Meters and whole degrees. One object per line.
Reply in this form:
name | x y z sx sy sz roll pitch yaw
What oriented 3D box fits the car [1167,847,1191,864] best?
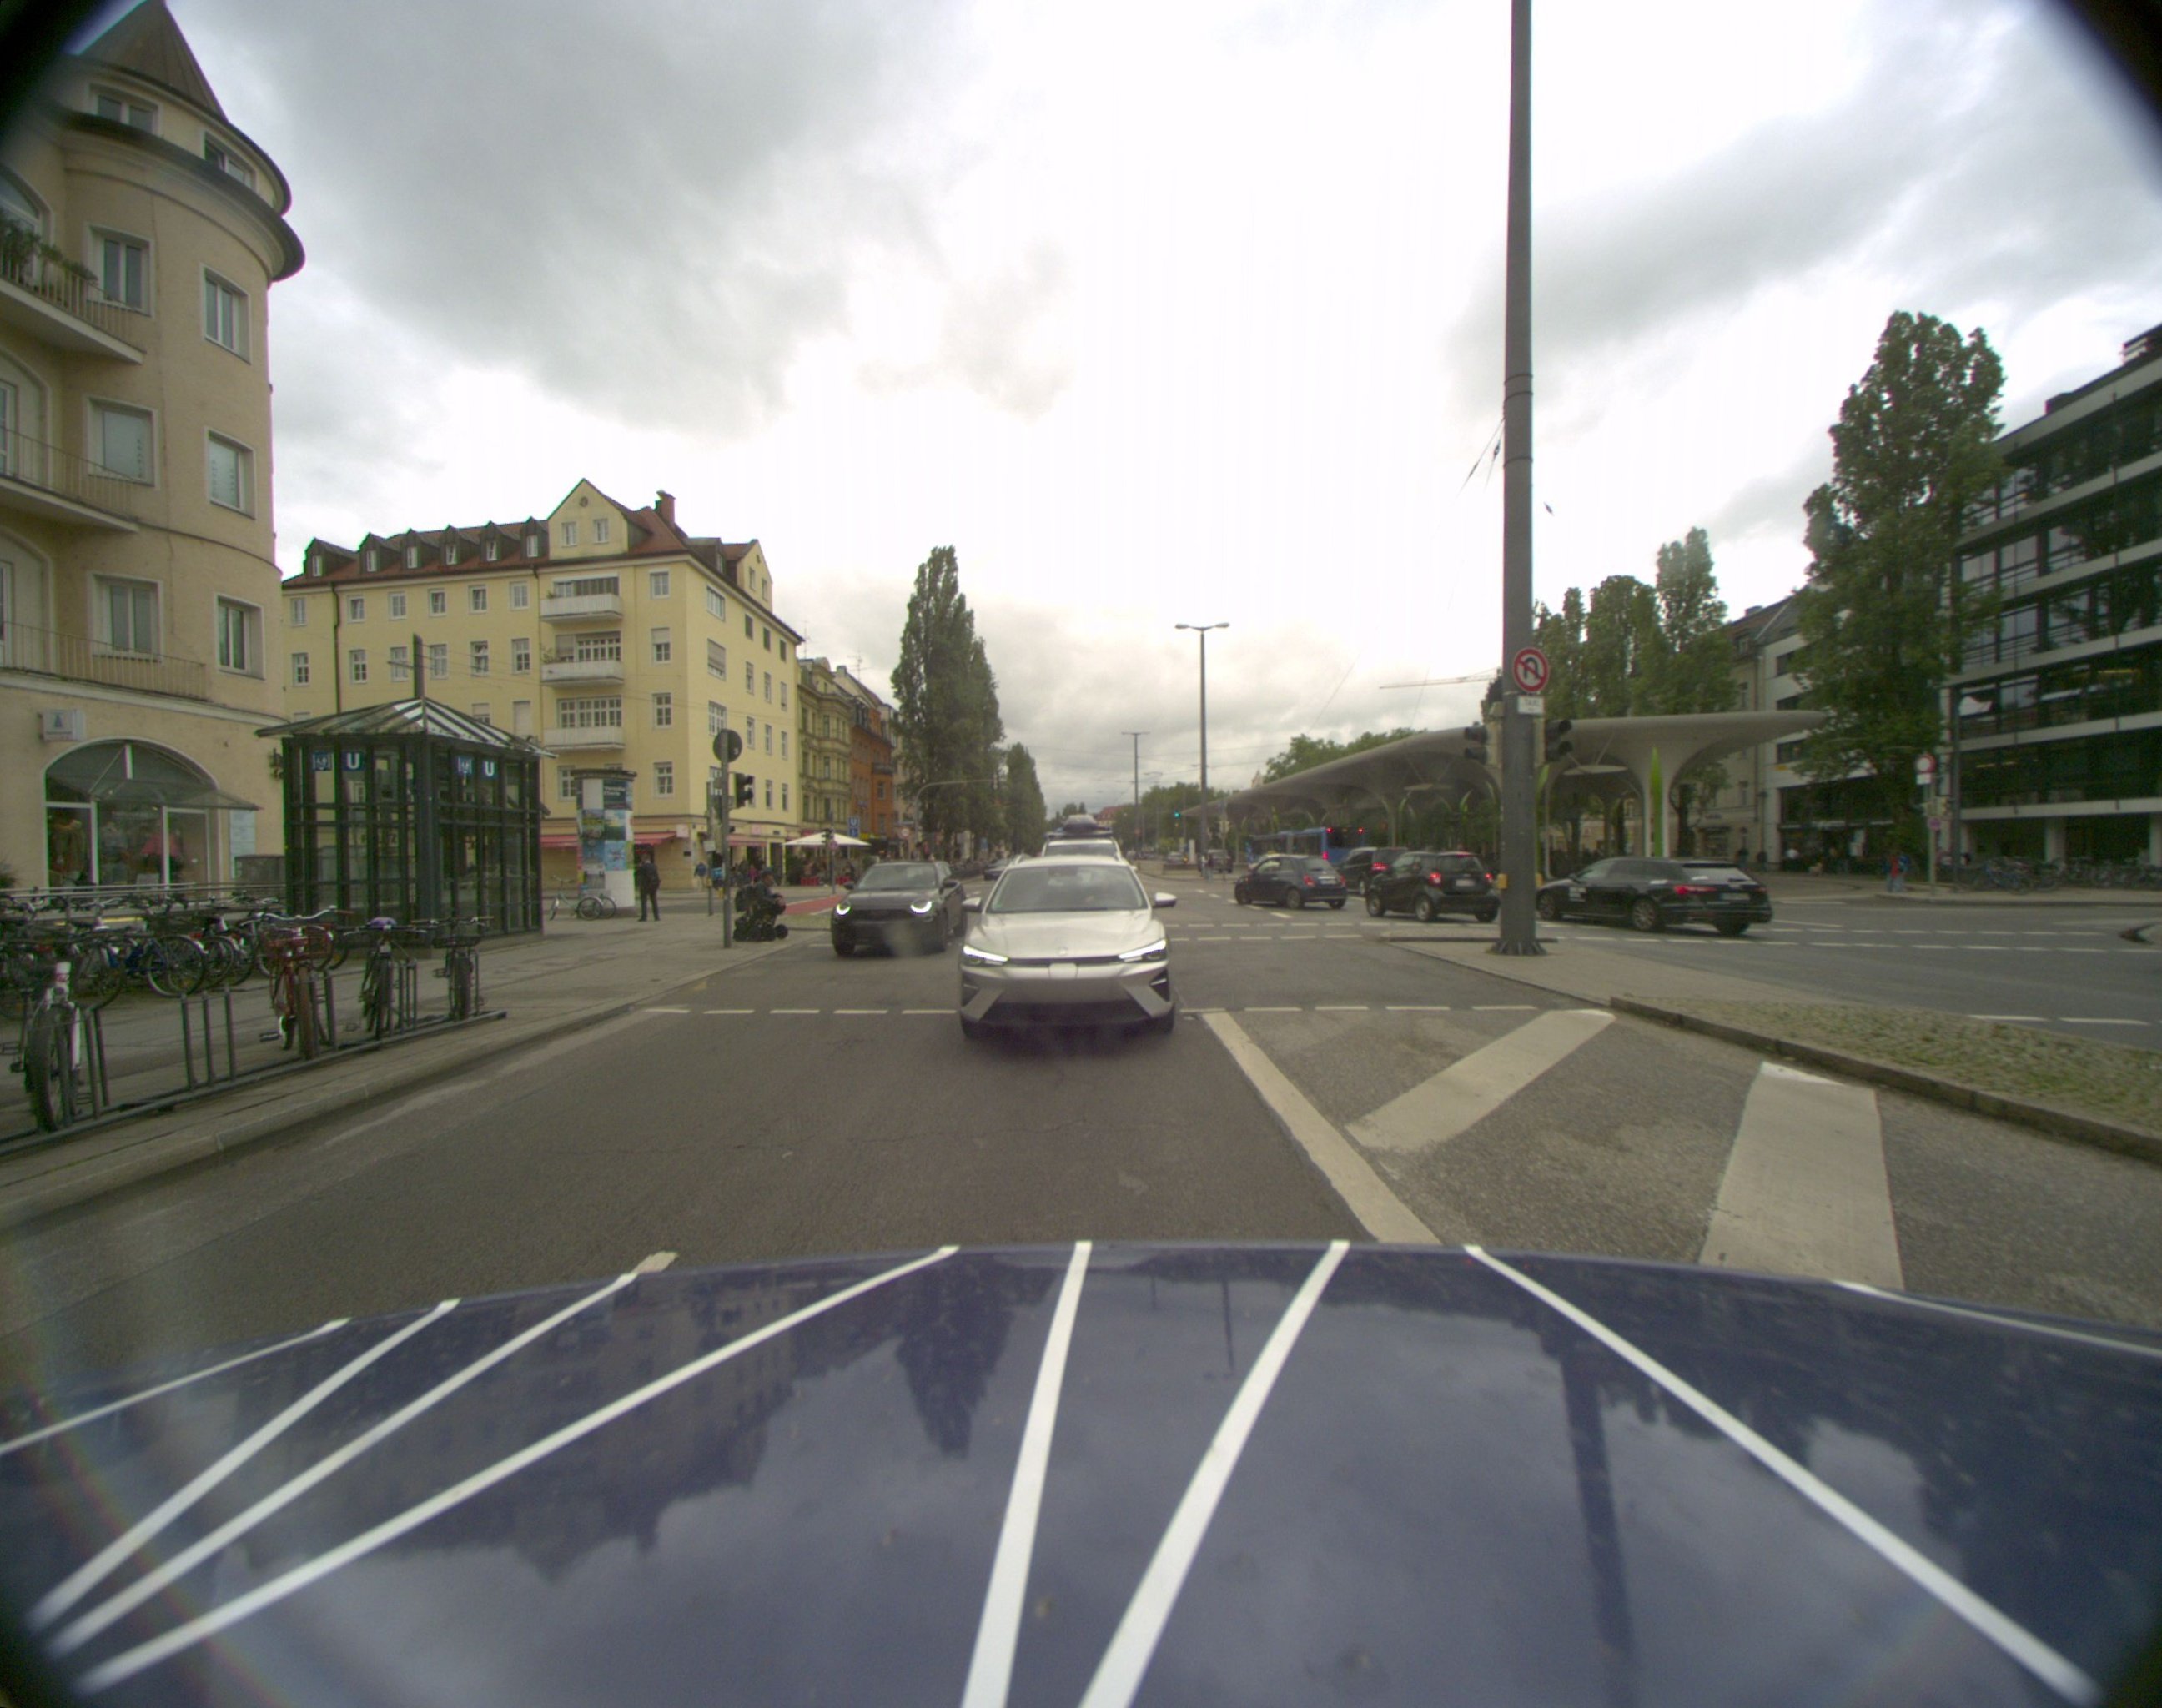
car | 9.540 0.103 74.159 1.848 1.529 3.999 -2 1 0

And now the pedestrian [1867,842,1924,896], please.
pedestrian | 27.707 0.501 25.867 0.861 1.767 0.980 -1 1 1

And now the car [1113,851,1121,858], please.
car | 8.586 0.052 181.138 1.848 1.529 4.000 -1 0 0

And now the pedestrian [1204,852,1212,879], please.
pedestrian | 6.701 0.626 40.110 0.357 1.411 0.380 -1 1 -1

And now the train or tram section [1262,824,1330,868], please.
train or tram section | 15.765 -0.551 56.283 2.840 2.983 7.406 -1 0 0

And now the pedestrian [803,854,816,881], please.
pedestrian | -16.665 0.831 46.700 0.552 1.675 0.585 -1 1 1

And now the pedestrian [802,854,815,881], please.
pedestrian | -17.042 0.834 47.483 0.552 1.675 0.585 -1 1 1

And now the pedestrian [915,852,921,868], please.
pedestrian | -17.425 0.676 81.300 0.552 1.675 0.585 -1 1 1

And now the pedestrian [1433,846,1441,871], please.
pedestrian | 19.157 0.239 40.898 0.303 1.369 0.270 -1 1 -2

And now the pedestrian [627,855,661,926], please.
pedestrian | -11.184 0.926 19.480 0.641 1.767 0.609 -2 1 -23

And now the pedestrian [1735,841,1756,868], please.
pedestrian | 43.197 0.043 49.385 0.985 1.762 0.951 -1 1 -44

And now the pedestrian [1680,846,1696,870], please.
pedestrian | 43.422 0.306 54.343 0.833 1.689 0.906 0 1 37

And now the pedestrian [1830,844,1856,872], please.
pedestrian | 47.139 0.258 47.008 0.800 1.714 0.827 0 1 11

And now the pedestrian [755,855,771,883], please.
pedestrian | -19.012 0.875 45.442 0.686 1.657 0.621 -1 1 -44

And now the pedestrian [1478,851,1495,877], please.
pedestrian | 21.319 0.529 39.940 0.549 1.330 0.592 -1 1 -1

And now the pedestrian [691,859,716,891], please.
pedestrian | -18.823 1.028 37.884 0.715 1.558 0.832 -2 1 0

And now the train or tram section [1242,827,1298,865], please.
train or tram section | 15.730 -0.662 63.704 2.840 2.983 7.406 -1 0 0

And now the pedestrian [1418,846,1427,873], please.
pedestrian | 18.678 0.289 41.539 0.320 1.493 0.317 -1 1 -9

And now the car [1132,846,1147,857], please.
car | 8.613 -0.443 111.904 1.848 1.529 3.999 -2 1 0

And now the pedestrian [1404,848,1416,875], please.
pedestrian | 18.105 0.394 41.806 0.490 1.493 0.426 -1 1 -27

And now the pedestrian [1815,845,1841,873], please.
pedestrian | 46.193 0.297 46.983 0.800 1.714 0.827 0 1 11

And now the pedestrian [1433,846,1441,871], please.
pedestrian | 19.333 0.226 41.285 0.303 1.369 0.257 -1 1 -2

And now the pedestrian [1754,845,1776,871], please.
pedestrian | 44.902 0.237 49.906 0.834 1.689 0.906 0 1 22

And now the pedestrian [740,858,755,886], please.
pedestrian | -18.633 1.011 42.455 0.528 1.517 0.585 -1 1 1

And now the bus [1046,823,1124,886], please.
bus | -0.046 -0.040 42.334 2.943 2.927 11.205 -2 1 -7

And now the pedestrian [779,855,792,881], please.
pedestrian | -18.941 0.896 48.762 0.552 1.675 0.585 -1 1 1

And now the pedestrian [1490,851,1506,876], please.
pedestrian | 21.992 0.501 40.080 0.549 1.330 0.592 -1 1 -1

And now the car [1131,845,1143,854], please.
car | 10.134 -0.893 137.255 1.848 1.529 3.999 -2 1 0

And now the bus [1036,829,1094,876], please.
bus | -1.324 -0.161 53.427 2.943 2.927 11.205 -2 1 -7

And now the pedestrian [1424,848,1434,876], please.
pedestrian | 18.972 0.428 41.427 0.335 1.493 0.317 -1 1 -9

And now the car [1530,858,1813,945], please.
car | 11.350 0.806 15.149 1.999 1.408 4.614 -1 0 -1

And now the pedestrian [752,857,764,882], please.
pedestrian | -19.991 0.935 47.023 0.529 1.517 0.585 -1 1 -14

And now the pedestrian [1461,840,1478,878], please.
pedestrian | 19.497 0.247 38.157 0.666 1.840 0.789 0 1 20

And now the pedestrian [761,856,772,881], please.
pedestrian | -19.475 0.913 47.108 0.529 1.517 0.585 -1 1 -14

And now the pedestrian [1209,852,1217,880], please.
pedestrian | 6.902 0.623 39.745 0.357 1.411 0.380 -1 1 -1

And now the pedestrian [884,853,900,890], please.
pedestrian | -9.506 0.875 38.221 0.732 1.792 0.710 -1 3 -9

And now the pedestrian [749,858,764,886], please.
pedestrian | -18.126 0.991 42.470 0.528 1.517 0.585 -1 1 1

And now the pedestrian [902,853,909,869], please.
pedestrian | -18.606 0.733 80.597 0.552 1.675 0.585 -1 1 1

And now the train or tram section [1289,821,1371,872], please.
train or tram section | 15.809 -0.443 48.851 2.840 2.983 7.406 -1 0 0

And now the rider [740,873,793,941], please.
rider | -6.042 1.002 14.637 0.732 1.234 0.732 1 1 -3

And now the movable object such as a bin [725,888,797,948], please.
movable object such as a bin | -6.135 1.222 14.618 1.089 1.056 0.747 1 1 -3

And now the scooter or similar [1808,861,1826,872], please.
scooter or similar | 46.221 0.793 47.730 0.519 0.711 0.681 0 1 11
